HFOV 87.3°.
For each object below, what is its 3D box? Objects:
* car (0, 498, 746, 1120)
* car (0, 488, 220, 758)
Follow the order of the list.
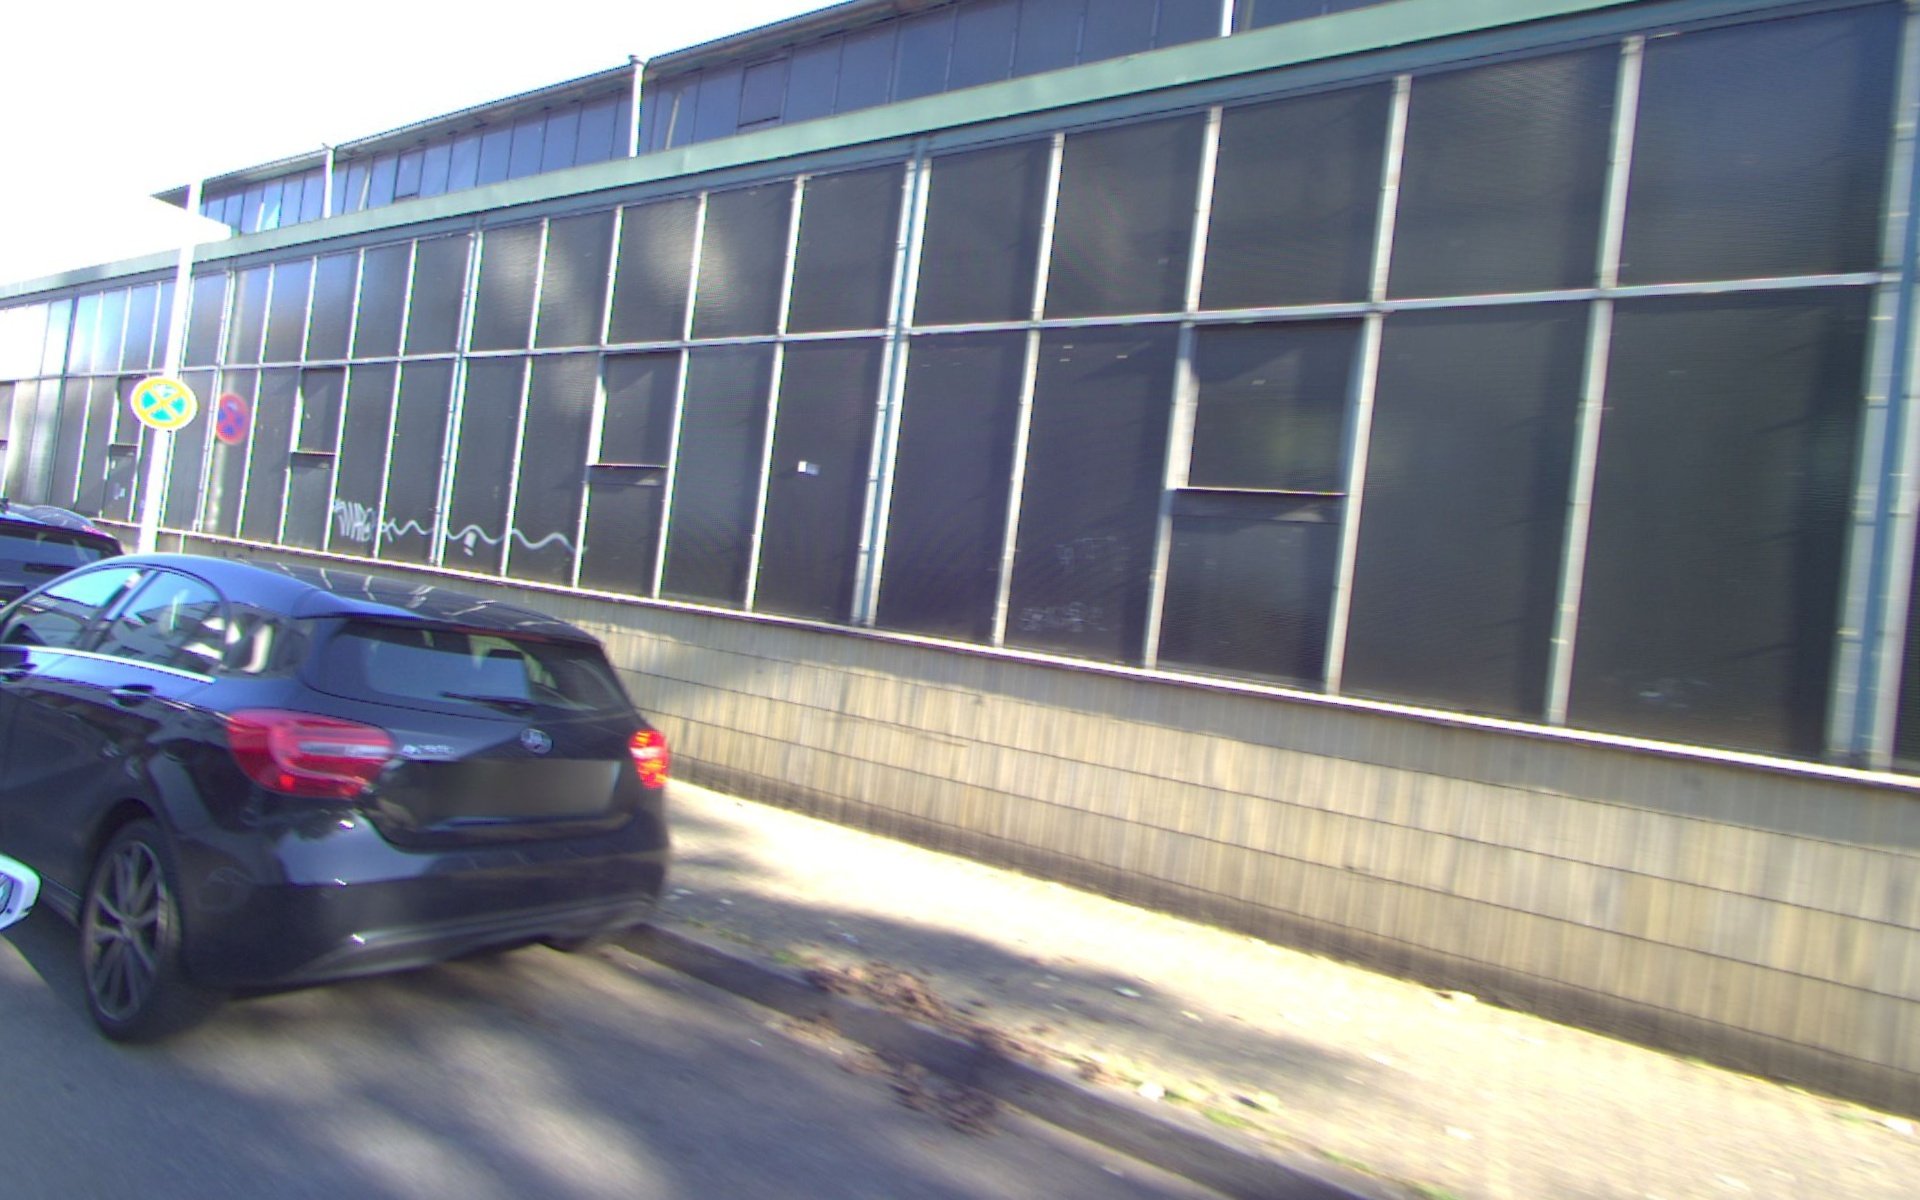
[{"bbox_3d":[-3.321,0.478,4.504,4.546,1.506,1.755,6,-4,33],"label":"car"},{"bbox_3d":[-7.530,-0.026,7.270,4.331,1.603,1.813,6,-4,31],"label":"car"}]
